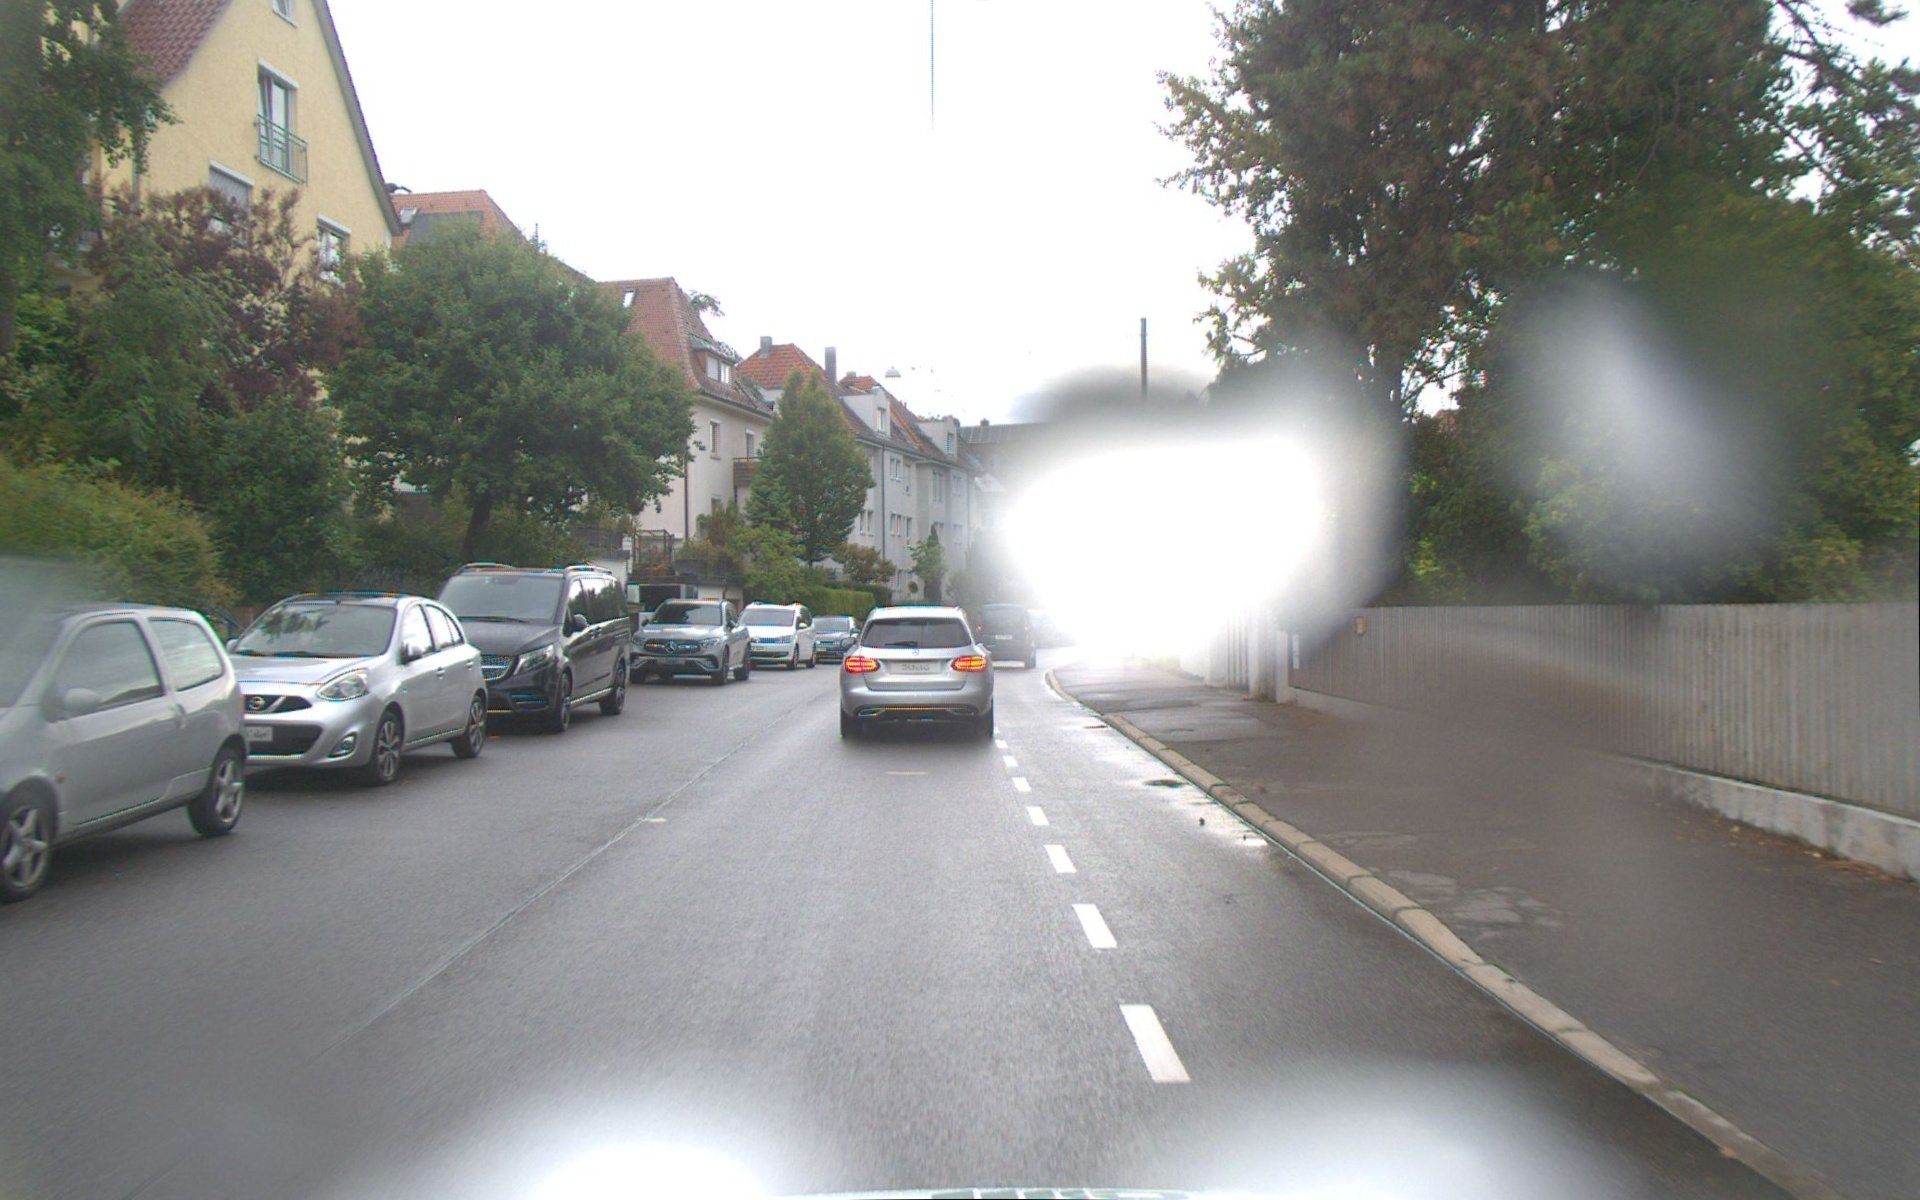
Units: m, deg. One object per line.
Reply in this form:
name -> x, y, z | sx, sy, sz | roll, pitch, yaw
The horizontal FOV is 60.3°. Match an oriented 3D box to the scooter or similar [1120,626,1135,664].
scooter or similar -> 5.884, 1.577, 58.130 | 0.440, 1.330, 1.482 | -1, -2, 8

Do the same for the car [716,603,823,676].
car -> -4.953, 1.007, 43.734 | 1.952, 1.732, 4.740 | 3, -1, 3

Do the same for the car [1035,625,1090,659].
car -> 5.963, 2.409, 95.947 | 1.952, 1.718, 4.678 | 1, 1, 19

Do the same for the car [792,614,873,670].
car -> -3.976, 1.303, 52.073 | 1.754, 1.608, 4.141 | 3, -1, 6

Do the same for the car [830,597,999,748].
car -> -0.507, 0.797, 19.729 | 1.779, 1.584, 3.999 | 1, 0, -1

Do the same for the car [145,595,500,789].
car -> -5.382, 0.728, 14.506 | 1.660, 1.472, 3.813 | 0, -1, -1

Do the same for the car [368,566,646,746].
car -> -5.430, 0.638, 20.673 | 1.953, 1.911, 5.356 | 1, -1, 0

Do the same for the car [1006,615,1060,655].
car -> 4.036, 1.899, 90.130 | 1.790, 2.092, 5.012 | 1, -1, 16

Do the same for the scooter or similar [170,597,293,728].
scooter or similar -> -7.685, 0.626, 17.529 | 0.490, 1.278, 1.918 | 0, 1, -1

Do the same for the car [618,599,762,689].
car -> -5.380, 0.854, 33.585 | 1.952, 1.608, 4.762 | 3, -1, 1

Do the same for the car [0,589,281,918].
car -> -5.312, 0.704, 9.251 | 1.613, 1.472, 3.627 | 0, 1, -2

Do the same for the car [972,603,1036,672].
car -> 1.351, 1.127, 49.321 | 1.804, 1.937, 4.001 | 1, -1, 3

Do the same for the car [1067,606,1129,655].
car -> 8.661, 1.846, 103.253 | 2.341, 2.820, 6.534 | 1, 1, 19
